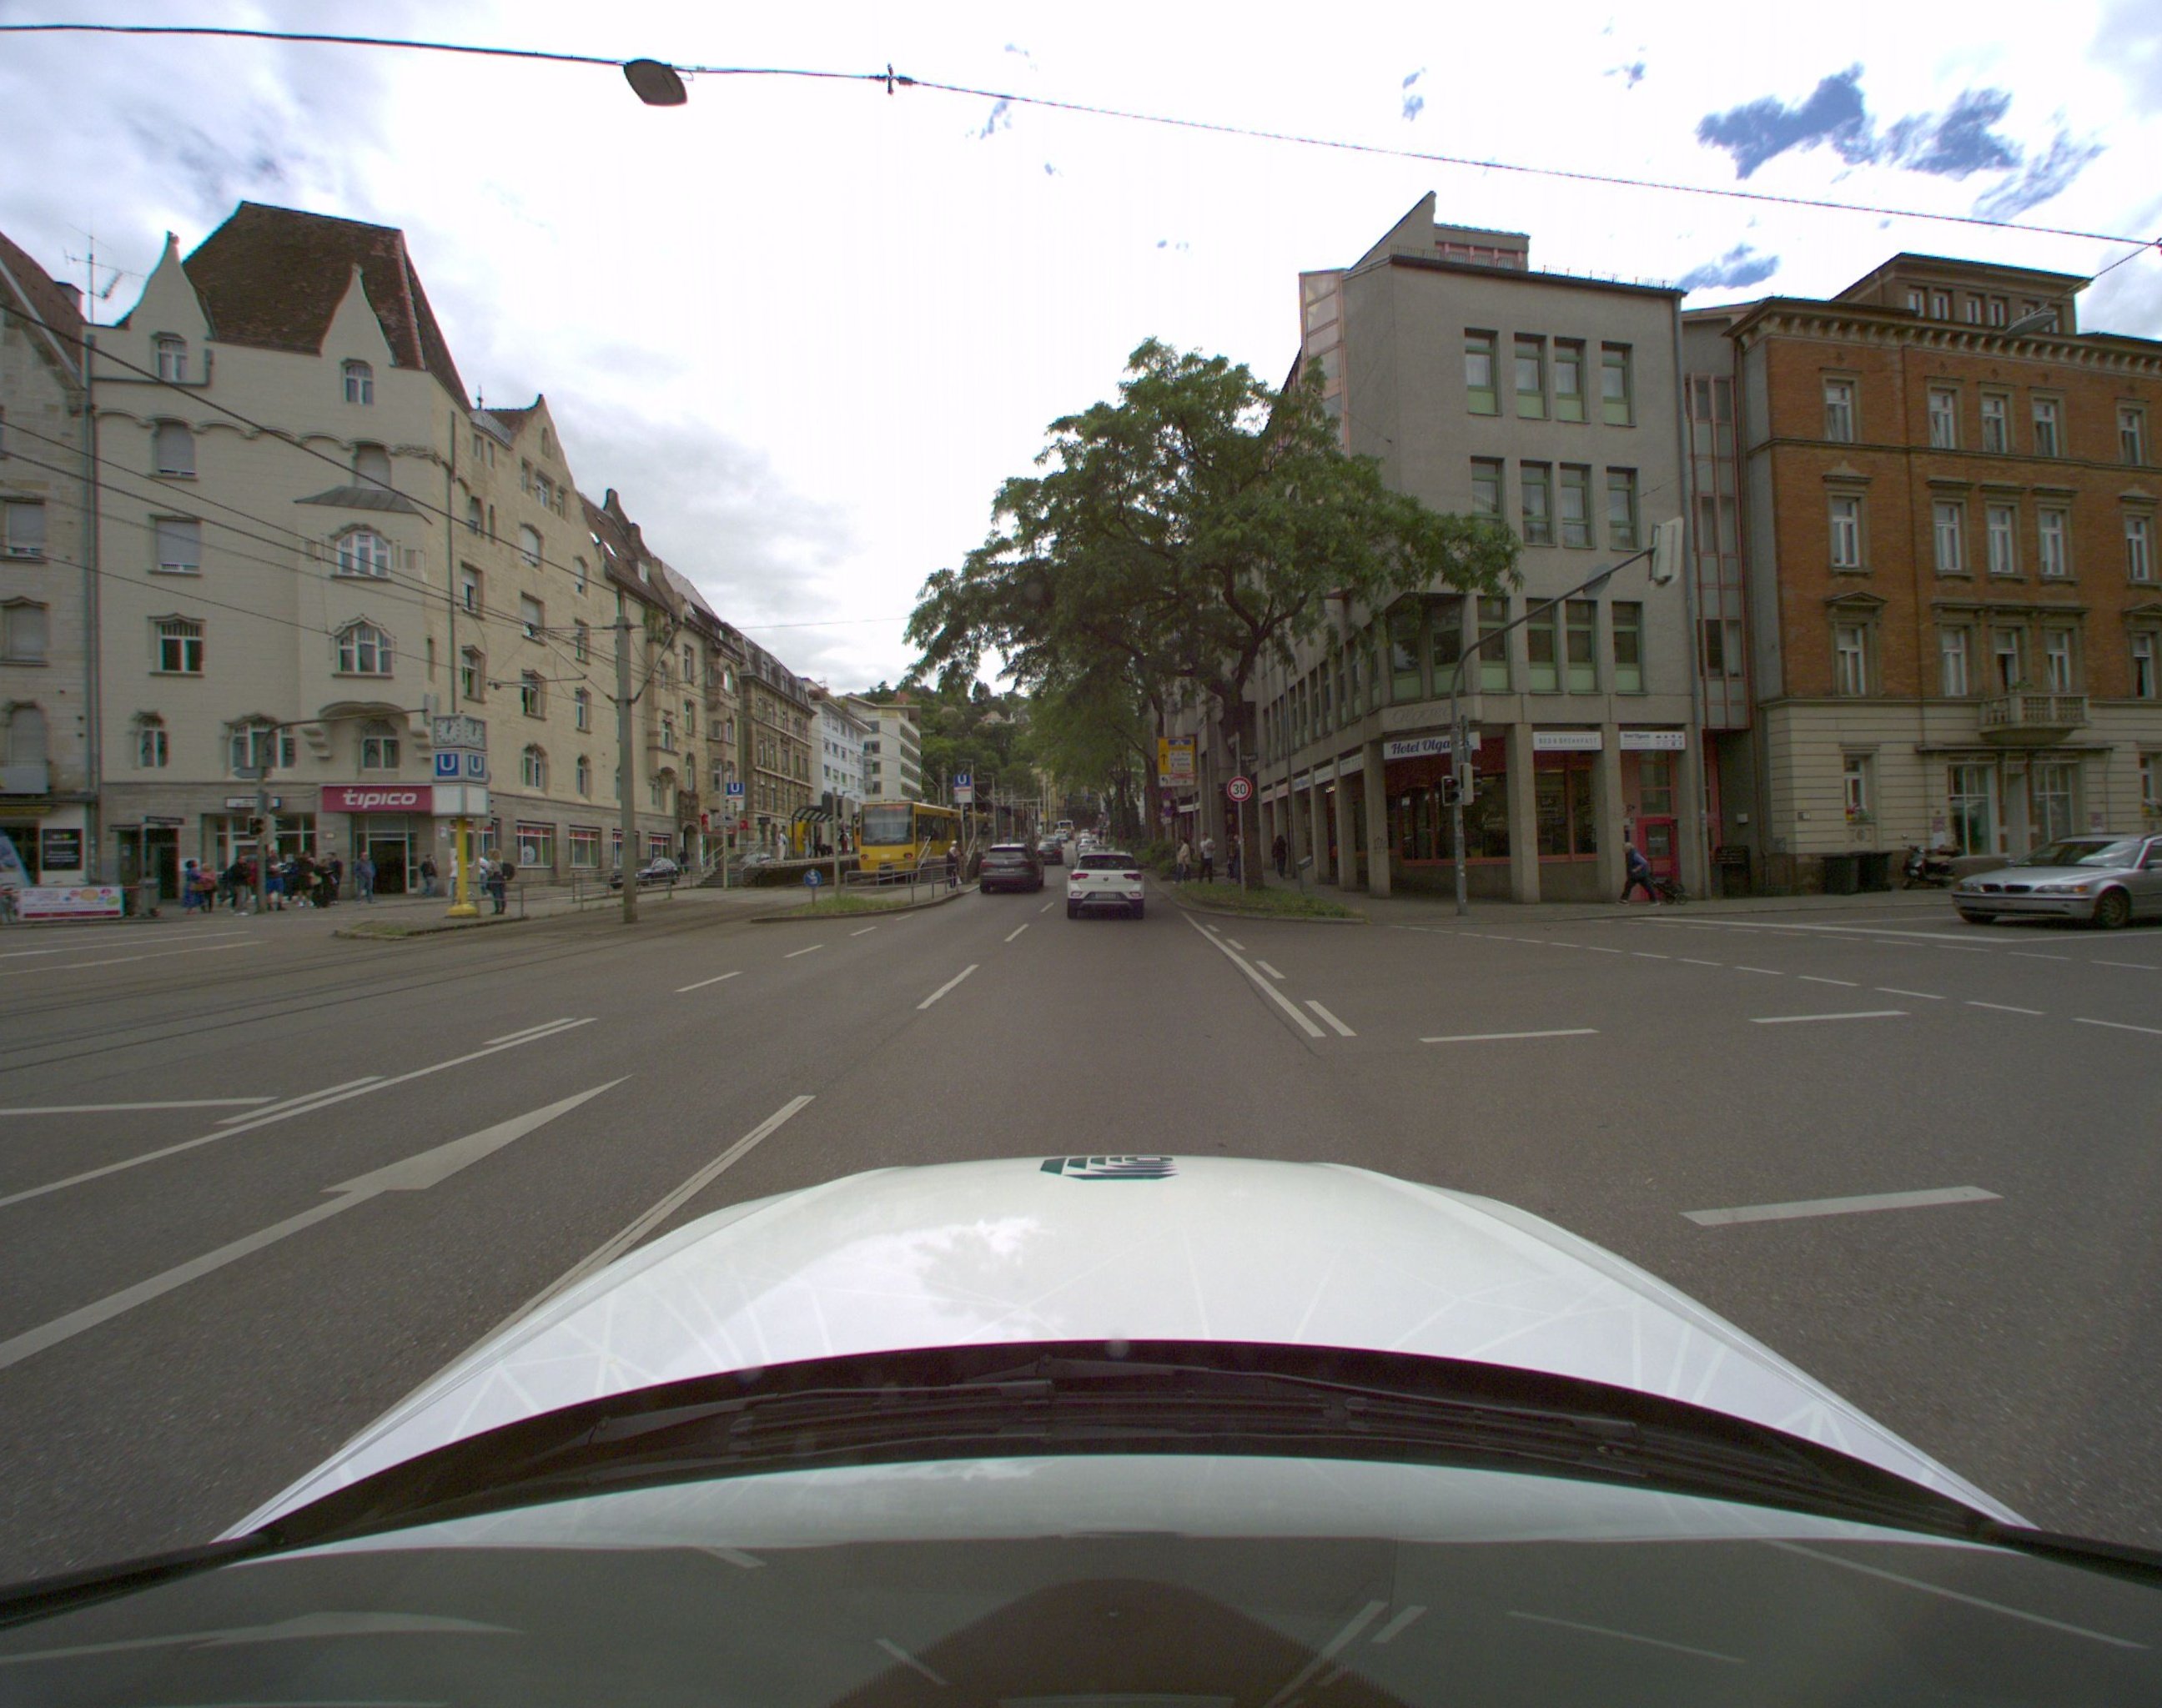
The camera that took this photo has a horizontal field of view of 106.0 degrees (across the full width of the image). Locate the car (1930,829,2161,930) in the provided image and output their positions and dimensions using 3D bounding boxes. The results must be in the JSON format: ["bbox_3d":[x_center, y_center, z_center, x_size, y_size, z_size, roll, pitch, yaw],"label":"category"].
[{"bbox_3d":[16.399,0.339,13.150,4.151,1.428,1.846,-1,0,-13],"label":"car"}]

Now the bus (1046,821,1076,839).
[{"bbox_3d":[-3.921,-4.557,155.087,3.374,3.064,13.271,0,0,-12],"label":"bus"}]

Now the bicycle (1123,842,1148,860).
[{"bbox_3d":[3.662,-0.209,55.172,1.613,1.128,0.614,-4,1,3],"label":"bicycle"}]

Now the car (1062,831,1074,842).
[{"bbox_3d":[-2.102,-2.869,134.362,1.878,1.684,4.161,0,0,0],"label":"car"}]

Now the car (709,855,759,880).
[{"bbox_3d":[-21.724,0.838,51.113,1.553,1.523,3.601,0,0,2],"label":"car"}]

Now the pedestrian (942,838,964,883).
[{"bbox_3d":[-4.923,0.232,31.322,0.683,1.711,0.711,-1,1,-1],"label":"pedestrian"}]

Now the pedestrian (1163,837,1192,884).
[{"bbox_3d":[3.610,0.224,30.500,0.834,1.703,0.763,-3,1,-5],"label":"pedestrian"}]

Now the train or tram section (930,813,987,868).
[{"bbox_3d":[-8.095,-0.909,54.514,2.825,3.520,5.752,0,1,0],"label":"train or tram section"}]

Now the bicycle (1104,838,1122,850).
[{"bbox_3d":[3.450,-1.107,87.135,1.869,1.266,0.766,0,0,10],"label":"bicycle"}]

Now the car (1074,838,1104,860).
[{"bbox_3d":[0.578,-0.406,64.293,1.883,1.684,4.151,0,0,-7],"label":"car"}]

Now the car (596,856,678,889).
[{"bbox_3d":[-21.432,0.864,39.490,1.624,1.375,3.788,-3,0,4],"label":"car"}]

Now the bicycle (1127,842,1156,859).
[{"bbox_3d":[4.205,-0.225,56.398,1.911,1.076,0.612,-4,1,-3],"label":"bicycle"}]

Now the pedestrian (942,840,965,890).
[{"bbox_3d":[-4.409,0.364,28.271,0.633,1.711,0.871,-1,1,0],"label":"pedestrian"}]

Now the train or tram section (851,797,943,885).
[{"bbox_3d":[-8.257,-0.592,37.210,2.825,3.678,5.752,0,1,0],"label":"train or tram section"}]

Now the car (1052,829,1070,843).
[{"bbox_3d":[-2.998,-2.635,122.633,2.355,2.013,5.152,0,0,3],"label":"car"}]

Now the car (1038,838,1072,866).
[{"bbox_3d":[-1.625,-0.147,51.955,1.905,1.689,4.003,0,2,2],"label":"car"}]

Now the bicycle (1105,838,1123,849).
[{"bbox_3d":[3.635,-1.165,88.768,1.871,1.137,0.809,0,0,5],"label":"bicycle"}]

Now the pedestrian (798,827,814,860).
[{"bbox_3d":[-14.630,-0.575,43.366,0.635,1.711,0.688,-1,1,-9],"label":"pedestrian"}]

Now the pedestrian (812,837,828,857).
[{"bbox_3d":[-14.863,-0.400,46.385,0.633,1.107,0.690,-1,1,-1],"label":"pedestrian"}]

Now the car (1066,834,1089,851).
[{"bbox_3d":[-0.441,-1.407,100.276,2.361,2.013,5.139,0,0,-5],"label":"car"}]

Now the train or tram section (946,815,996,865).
[{"bbox_3d":[-8.044,-1.006,60.273,2.825,3.520,5.752,0,1,0],"label":"train or tram section"}]

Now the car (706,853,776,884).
[{"bbox_3d":[-17.829,0.722,42.940,1.901,1.574,4.001,0,0,2],"label":"car"}]

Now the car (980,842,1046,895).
[{"bbox_3d":[-2.300,0.437,28.541,1.988,1.635,3.999,-1,2,-1],"label":"car"}]

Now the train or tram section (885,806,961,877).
[{"bbox_3d":[-8.215,-0.664,42.976,2.825,3.520,5.752,0,1,0],"label":"train or tram section"}]

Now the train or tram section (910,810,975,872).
[{"bbox_3d":[-8.167,-0.780,48.731,2.825,3.520,5.752,0,1,0],"label":"train or tram section"}]

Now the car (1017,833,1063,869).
[{"bbox_3d":[-2.397,-0.184,48.943,2.356,2.013,5.150,0,0,2],"label":"car"}]

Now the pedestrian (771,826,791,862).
[{"bbox_3d":[-14.485,-0.463,39.311,0.686,1.711,0.661,-1,1,-1],"label":"pedestrian"}]

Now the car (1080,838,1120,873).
[{"bbox_3d":[0.907,0.055,41.286,1.879,1.684,4.160,0,0,-1],"label":"car"}]

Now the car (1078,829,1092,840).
[{"bbox_3d":[0.633,-3.162,134.225,1.881,1.684,4.154,0,0,-5],"label":"car"}]

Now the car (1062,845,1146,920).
[{"bbox_3d":[0.628,0.605,20.001,1.830,1.583,4.161,0,1,3],"label":"car"}]

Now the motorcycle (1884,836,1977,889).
[{"bbox_3d":[22.588,0.198,21.649,2.666,1.297,1.141,-2,0,-31],"label":"motorcycle"}]
